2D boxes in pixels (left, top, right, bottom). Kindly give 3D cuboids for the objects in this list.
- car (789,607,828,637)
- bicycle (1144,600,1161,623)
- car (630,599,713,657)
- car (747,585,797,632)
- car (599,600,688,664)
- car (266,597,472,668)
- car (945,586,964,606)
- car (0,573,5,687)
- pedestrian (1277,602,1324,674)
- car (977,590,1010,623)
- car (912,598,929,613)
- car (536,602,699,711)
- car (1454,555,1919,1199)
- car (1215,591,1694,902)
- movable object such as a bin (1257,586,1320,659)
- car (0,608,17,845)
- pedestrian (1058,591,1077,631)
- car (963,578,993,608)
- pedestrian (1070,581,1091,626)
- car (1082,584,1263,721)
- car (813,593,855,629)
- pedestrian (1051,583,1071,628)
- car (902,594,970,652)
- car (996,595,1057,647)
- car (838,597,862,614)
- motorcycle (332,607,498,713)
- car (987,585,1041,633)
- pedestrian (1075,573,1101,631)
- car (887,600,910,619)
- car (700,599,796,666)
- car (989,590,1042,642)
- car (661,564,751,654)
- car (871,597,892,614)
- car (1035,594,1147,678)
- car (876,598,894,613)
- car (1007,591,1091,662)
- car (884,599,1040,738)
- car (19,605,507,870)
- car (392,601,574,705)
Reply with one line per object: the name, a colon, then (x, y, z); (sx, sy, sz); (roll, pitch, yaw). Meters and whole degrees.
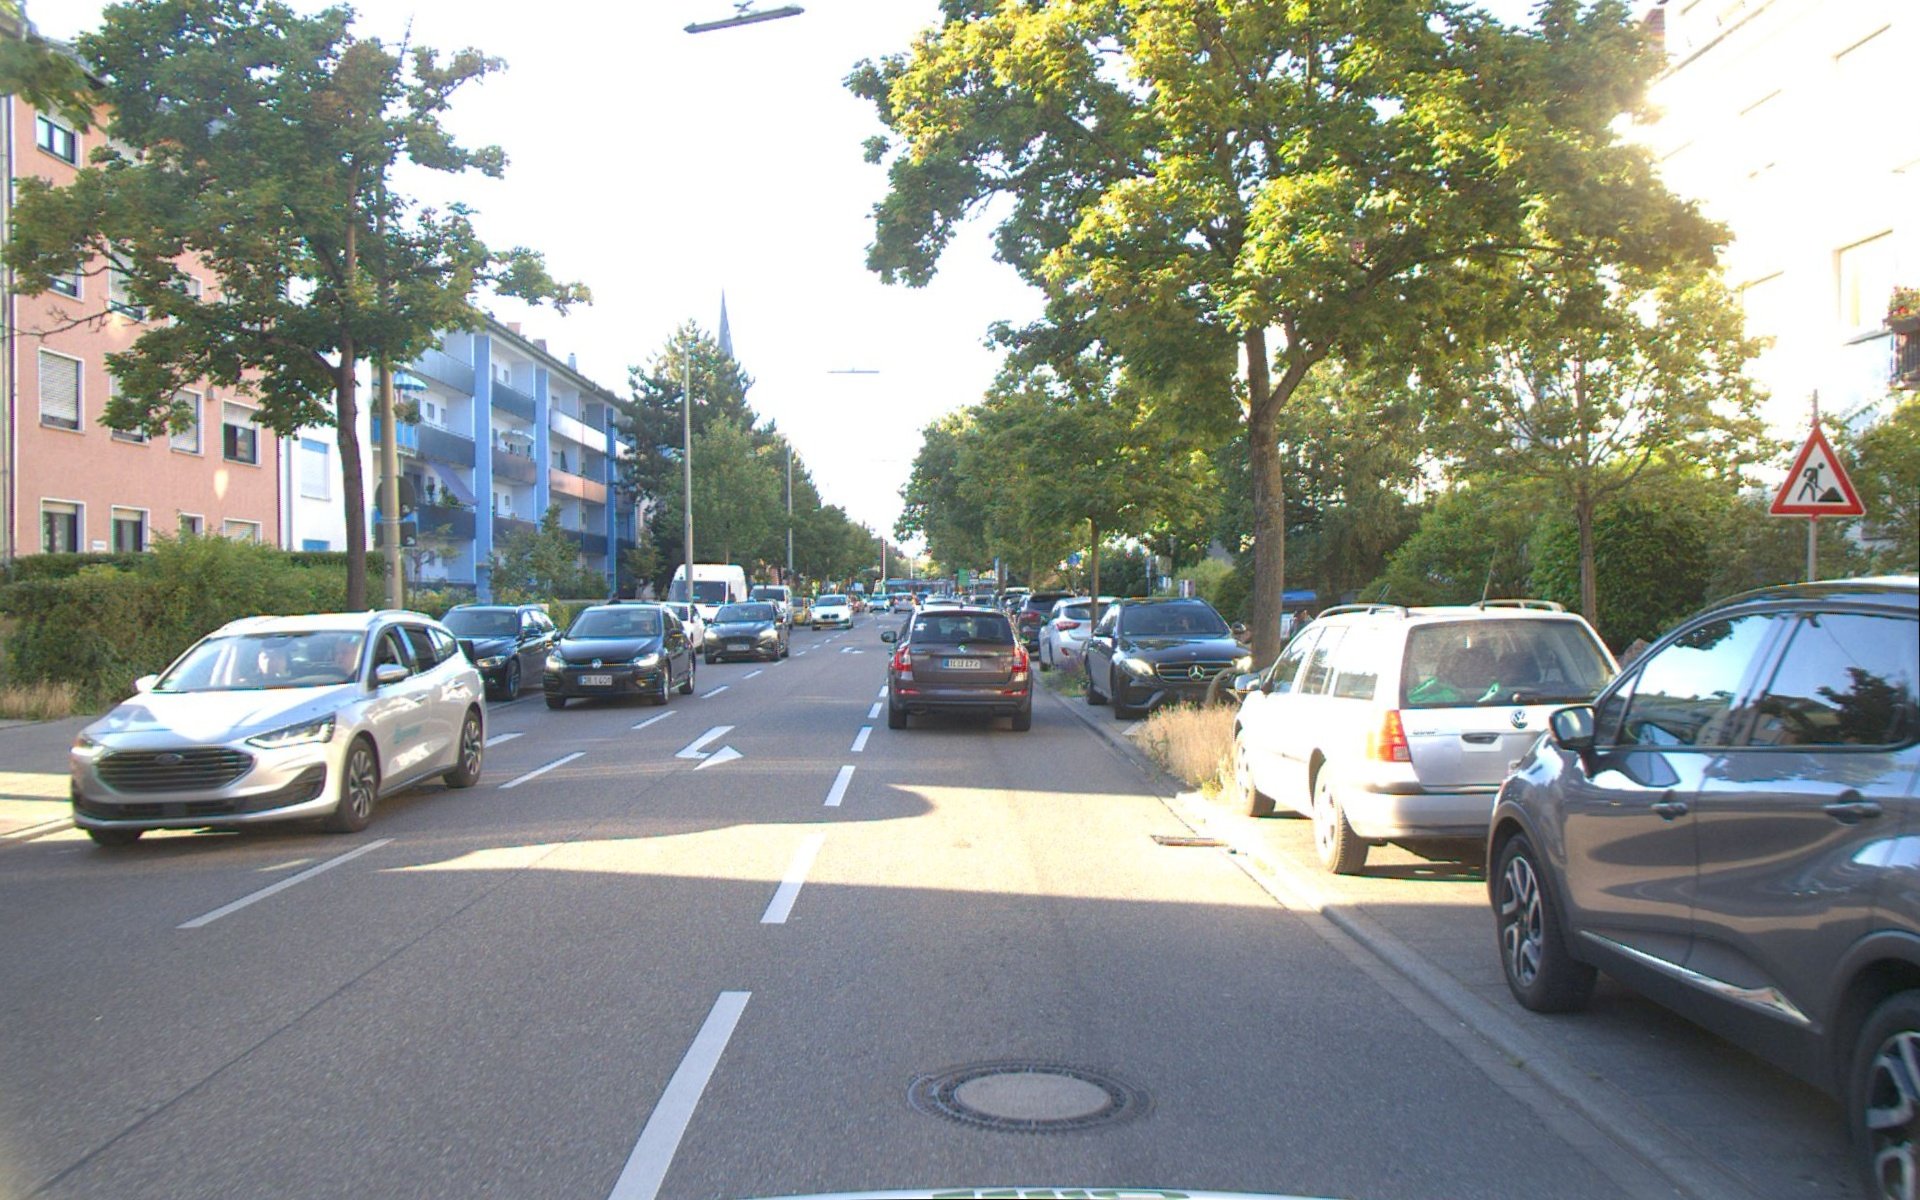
car: (-7.933, 1.137, 86.764); (1.585, 1.506, 3.872); (1, 0, 1)
bicycle: (8.535, 0.500, 73.364); (0.465, 0.961, 1.680); (-1, 0, -2)
car: (-8.106, 0.759, 46.788); (1.672, 1.518, 4.057); (2, 0, -1)
car: (-8.622, 0.380, 76.234); (1.831, 2.067, 5.299); (0, 0, -2)
car: (-8.003, 0.773, 42.114); (1.579, 1.498, 3.812); (2, 0, -2)
car: (-13.275, 0.716, 37.328); (3.906, 1.437, 1.915); (2, 0, -1)
car: (-0.538, -0.402, 153.978); (1.718, 1.837, 3.999); (1, 0, -1)
car: (-15.268, 0.436, 22.939); (1.790, 1.712, 3.998); (0, 0, -2)
pedestrian: (6.065, 0.673, 29.466); (0.659, 1.256, 0.790); (0, -1, -1)
car: (1.819, 0.335, 89.674); (1.718, 1.716, 4.252); (1, 0, 0)
car: (-4.415, 0.603, 185.573); (1.613, 1.627, 3.645); (-1, 0, -6)
car: (-5.067, 0.788, 24.958); (1.666, 1.428, 4.026); (-2, 0, -2)
car: (2.917, 0.673, 4.918); (1.603, 1.596, 3.999); (-2, 0, -1)
car: (2.841, 0.732, 10.552); (1.603, 1.516, 4.414); (-2, 0, -2)
movable object such as a bin: (7.213, 0.485, 36.397); (1.240, 1.518, 1.140); (-3, 0, 9)
car: (-7.454, 0.884, 10.286); (1.468, 1.645, 2.862); (0, 0, 2)
pedestrian: (4.749, 0.488, 73.144); (0.781, 1.752, 0.745); (-1, 0, 8)
car: (1.142, -0.436, 106.098); (1.877, 1.893, 5.633); (0, 0, 0)
pedestrian: (5.202, 0.137, 71.205); (0.781, 1.893, 0.951); (-1, 0, 10)
car: (2.772, 0.638, 22.584); (1.836, 1.608, 4.820); (-2, 0, 0)
car: (-5.716, 0.484, 75.417); (1.842, 1.570, 4.263); (-1, 0, -4)
pedestrian: (4.366, 0.248, 71.334); (0.733, 1.893, 1.067); (-1, 0, -2)
car: (-0.729, 0.682, 48.403); (1.854, 1.533, 3.788); (3, -1, -2)
car: (2.006, 0.626, 50.867); (1.580, 1.492, 3.958); (-2, 0, -2)
car: (-9.854, 0.495, 148.338); (1.744, 1.506, 3.971); (1, 0, 1)
motorcycle: (-7.636, 0.837, 23.202); (2.003, 1.413, 0.979); (2, -1, -33)
car: (2.149, 0.358, 66.760); (1.764, 1.840, 4.421); (1, 0, -3)
pedestrian: (3.866, 0.062, 49.861); (0.771, 1.730, 0.808); (0, -1, 3)
car: (-4.993, 0.748, 134.269); (1.746, 1.506, 3.967); (1, 0, -4)
car: (-5.126, 0.749, 40.505); (1.665, 1.496, 4.295); (-2, 0, 1)
car: (1.904, 0.531, 57.569); (1.718, 1.692, 4.252); (-2, 0, 0)
car: (-8.052, 0.249, 53.093); (1.953, 2.662, 7.103); (1, 0, -2)
car: (-7.091, 0.504, 149.285); (1.744, 1.521, 3.970); (0, 0, -1)
car: (2.520, 0.656, 32.720); (1.684, 1.520, 4.392); (-1, 0, -2)
car: (-9.160, 0.655, 202.194); (1.955, 1.780, 3.994); (-1, 0, -6)
car: (2.111, 0.604, 40.217); (1.683, 1.629, 4.095); (-1, 0, -2)
car: (0.041, 0.763, 20.464); (1.718, 1.518, 4.000); (1, 0, 0)
car: (-4.890, 0.851, 12.397); (1.795, 1.496, 4.450); (-3, 0, -2)
car: (-7.684, 0.796, 27.074); (1.742, 1.531, 4.587); (0, 0, -1)
